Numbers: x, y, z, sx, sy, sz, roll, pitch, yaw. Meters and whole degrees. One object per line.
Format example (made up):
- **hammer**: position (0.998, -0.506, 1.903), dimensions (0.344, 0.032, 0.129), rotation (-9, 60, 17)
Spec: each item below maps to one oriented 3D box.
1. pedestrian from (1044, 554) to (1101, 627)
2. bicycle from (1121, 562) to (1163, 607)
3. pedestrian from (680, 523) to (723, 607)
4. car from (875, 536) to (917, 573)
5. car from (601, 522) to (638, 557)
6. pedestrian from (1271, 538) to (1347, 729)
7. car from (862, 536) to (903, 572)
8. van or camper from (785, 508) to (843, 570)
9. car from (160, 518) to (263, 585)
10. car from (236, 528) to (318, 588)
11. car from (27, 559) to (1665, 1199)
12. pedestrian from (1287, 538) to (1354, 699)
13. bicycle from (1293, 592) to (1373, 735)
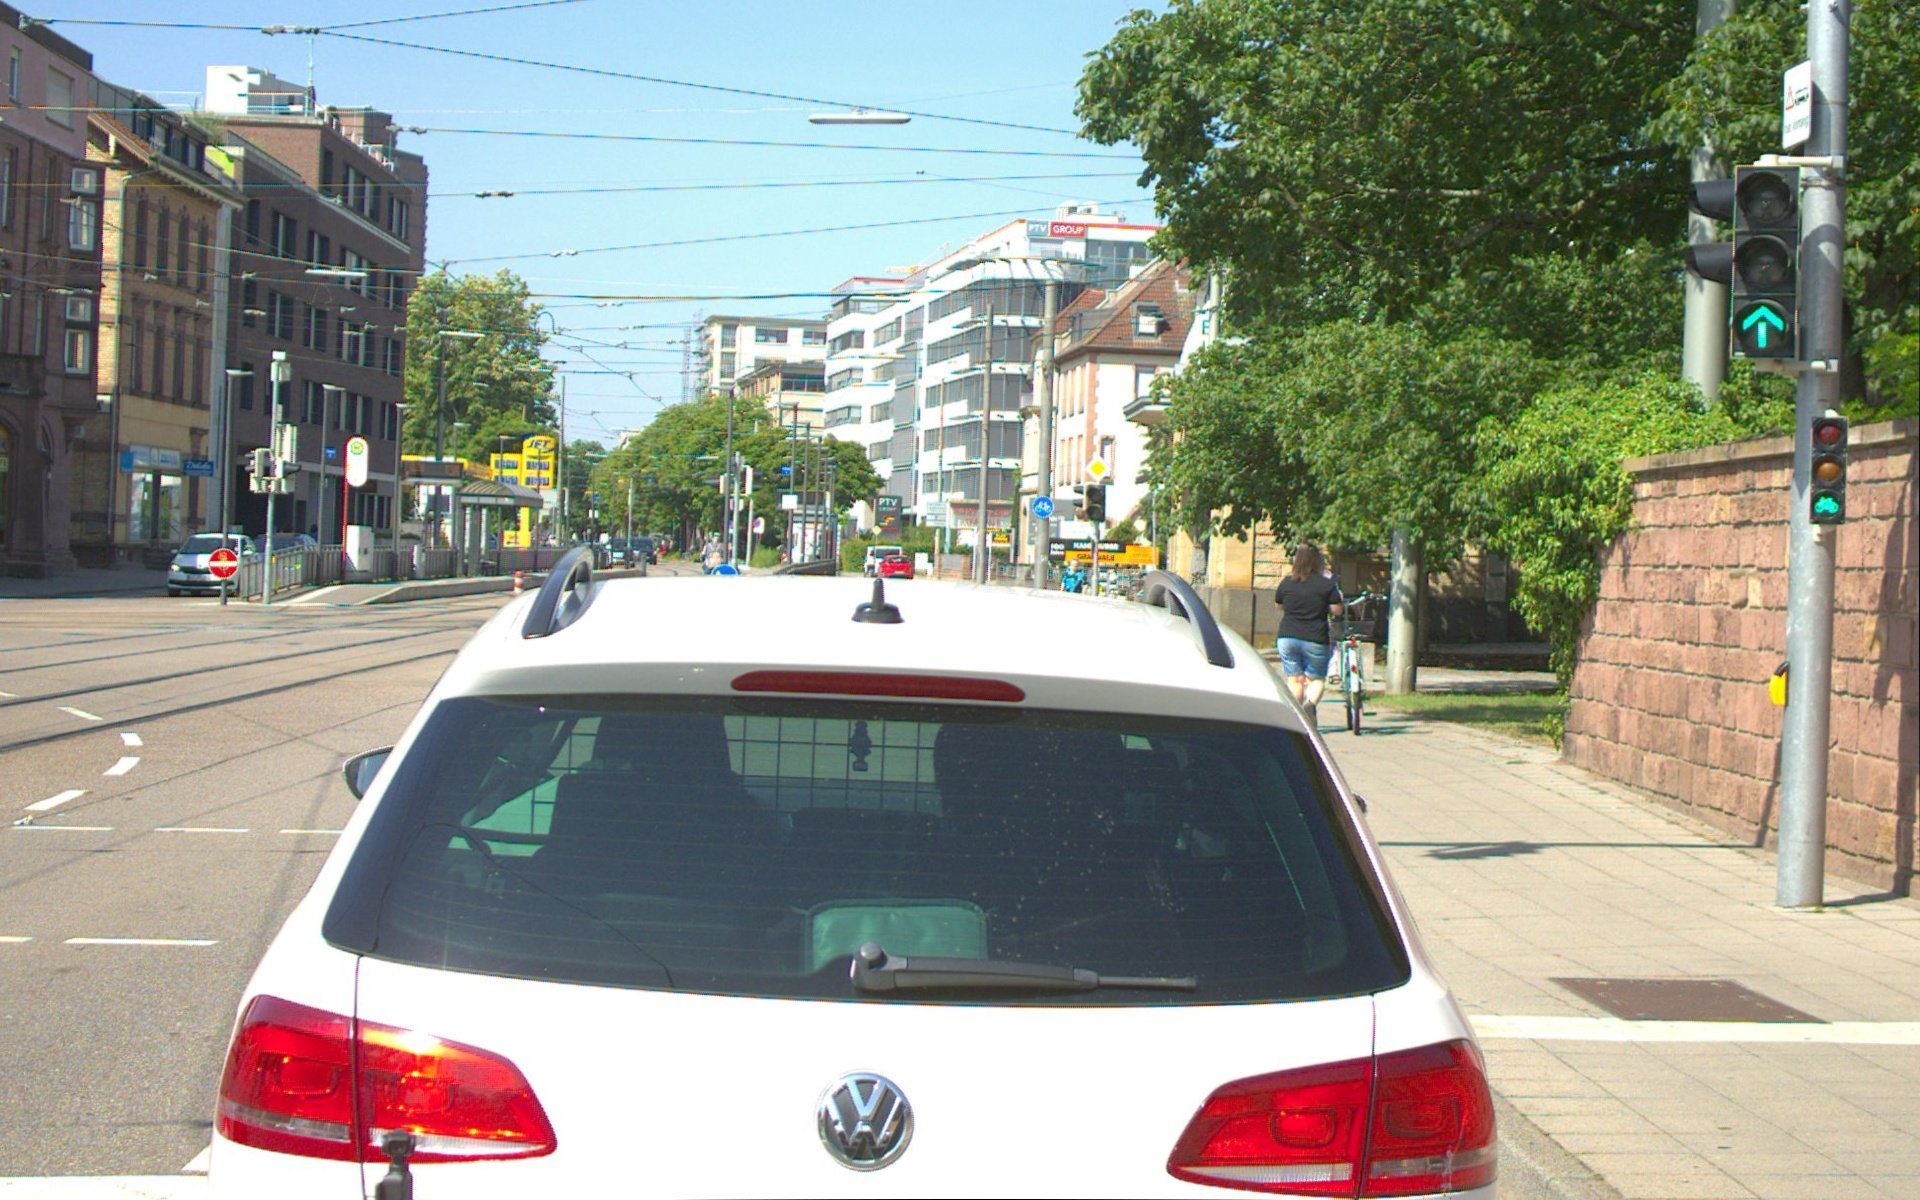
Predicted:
- **pedestrian**: position (2.406, -0.207, 73.297), dimensions (0.858, 1.505, 0.780), rotation (3, 1, 41)
- **bicycle**: position (4.783, -0.422, 90.182), dimensions (0.726, 1.135, 2.193), rotation (2, 1, 12)
- **pedestrian**: position (-5.669, -0.767, 75.382), dimensions (0.826, 1.803, 0.833), rotation (2, 1, 0)
- **car**: position (-3.616, -2.553, 192.411), dimensions (1.993, 2.007, 4.001), rotation (2, 1, -5)
- **car**: position (-20.175, -3.600, 203.808), dimensions (1.993, 2.007, 4.000), rotation (1, 1, -2)
- **pedestrian**: position (2.860, 0.264, 28.192), dimensions (0.540, 1.543, 0.663), rotation (0, 1, -1)
- **car**: position (-4.485, -2.656, 197.816), dimensions (1.993, 2.007, 4.001), rotation (2, 1, -5)
- **van or camper**: position (-7.809, -3.261, 183.250), dimensions (2.943, 3.169, 6.614), rotation (2, 1, -3)
- **car**: position (-17.467, -1.128, 80.363), dimensions (1.625, 1.426, 3.963), rotation (3, 1, -2)
- **car**: position (-17.476, -1.096, 88.118), dimensions (1.572, 1.454, 3.815), rotation (2, 1, -4)
- **car**: position (-0.156, 0.678, 5.659), dimensions (1.752, 1.413, 3.853), rotation (2, 1, -1)
- **pedestrian**: position (3.857, 0.190, 36.756), dimensions (0.650, 1.676, 0.707), rotation (2, 1, 6)
- **bicycle**: position (3.042, 0.497, 27.967), dimensions (0.536, 1.107, 1.806), rotation (1, 0, 9)
